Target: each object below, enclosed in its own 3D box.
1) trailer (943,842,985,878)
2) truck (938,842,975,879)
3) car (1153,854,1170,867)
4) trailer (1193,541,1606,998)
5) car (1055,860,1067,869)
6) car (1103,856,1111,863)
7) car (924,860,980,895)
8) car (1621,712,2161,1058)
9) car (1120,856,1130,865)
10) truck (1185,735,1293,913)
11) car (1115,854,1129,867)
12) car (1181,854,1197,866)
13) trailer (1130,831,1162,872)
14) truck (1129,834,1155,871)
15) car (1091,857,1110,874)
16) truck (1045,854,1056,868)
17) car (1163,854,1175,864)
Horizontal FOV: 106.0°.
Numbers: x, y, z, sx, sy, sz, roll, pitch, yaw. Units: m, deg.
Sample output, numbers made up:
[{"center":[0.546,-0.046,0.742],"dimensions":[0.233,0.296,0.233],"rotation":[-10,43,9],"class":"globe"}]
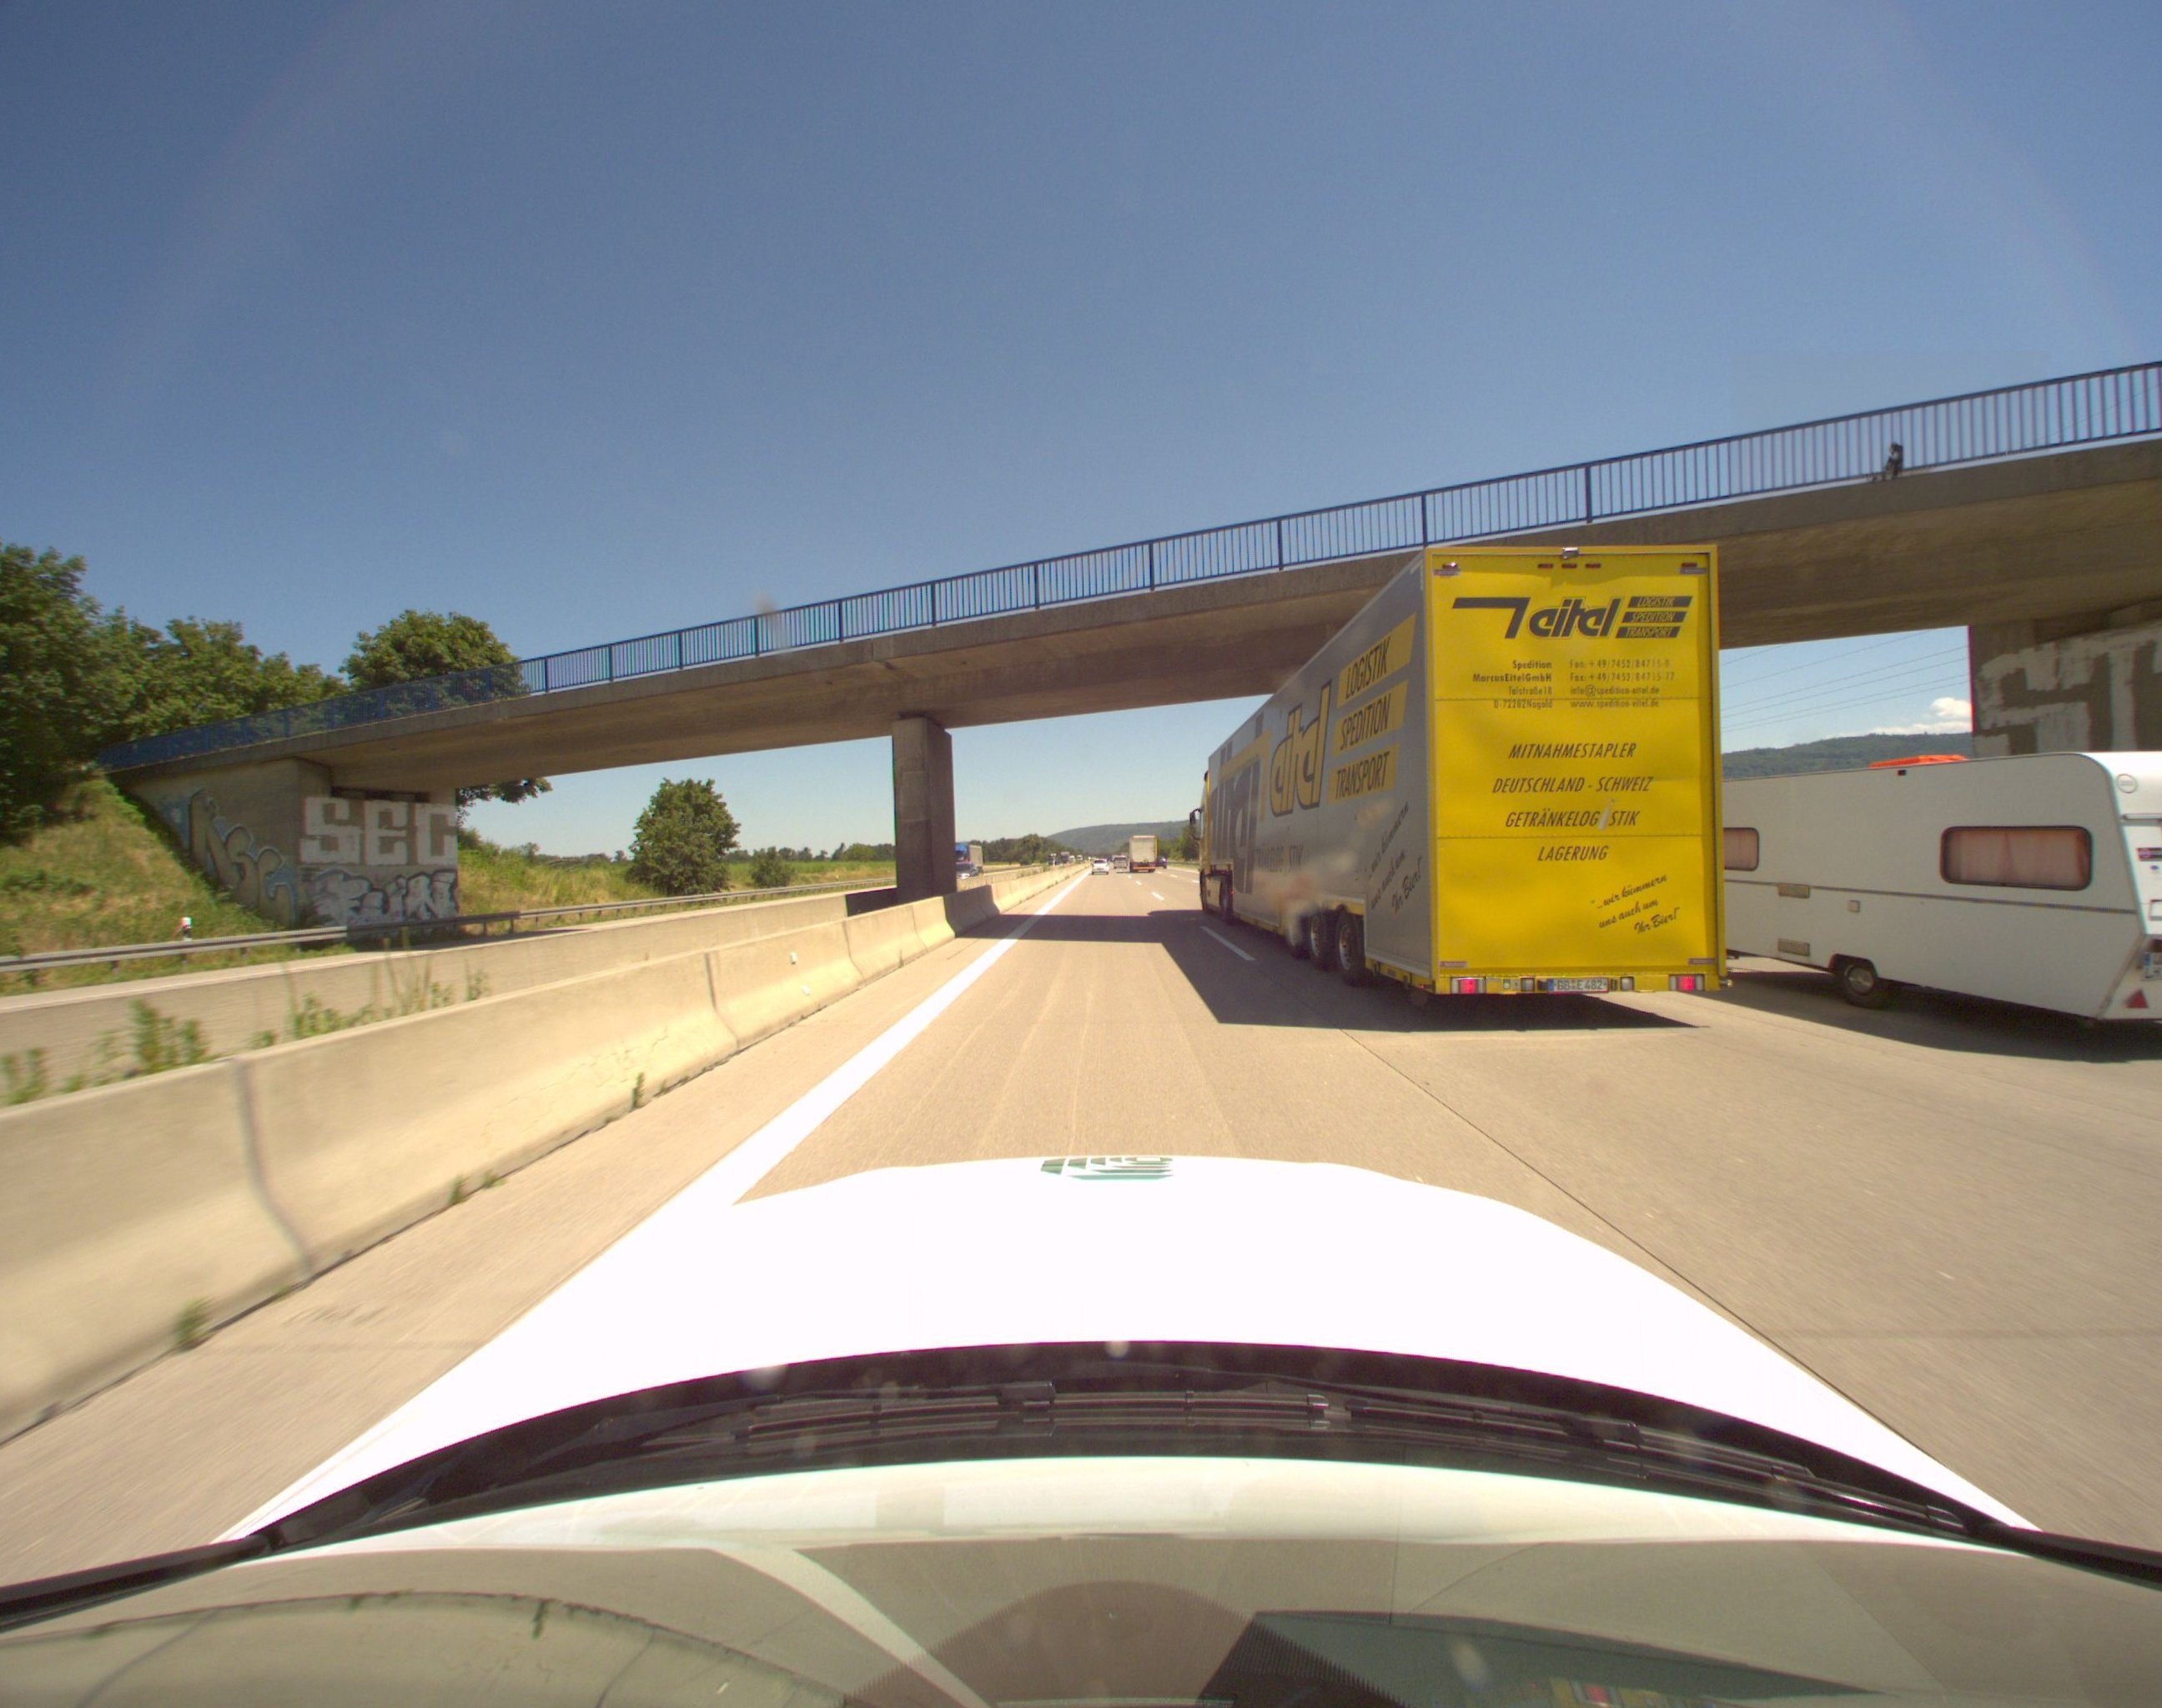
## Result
[{"center":[-14.283,0.706,100.215],"dimensions":[2.970,4.090,11.608],"rotation":[-3,0,2],"class":"trailer"},{"center":[-14.455,0.722,94.903],"dimensions":[2.970,4.090,6.467],"rotation":[-2,-1,1],"class":"truck"},{"center":[11.448,0.904,115.933],"dimensions":[1.986,1.849,4.000],"rotation":[1,0,1],"class":"car"},{"center":[4.013,-0.748,15.212],"dimensions":[1.986,4.254,15.201],"rotation":[-1,0,1],"class":"trailer"},{"center":[-3.827,2.030,159.330],"dimensions":[1.986,1.862,5.468],"rotation":[-1,0,2],"class":"car"},{"center":[7.220,1.557,227.974],"dimensions":[1.986,1.849,4.000],"rotation":[1,0,1],"class":"car"},{"center":[-7.716,1.354,49.431],"dimensions":[2.297,2.014,5.657],"rotation":[-1,0,2],"class":"car"},{"center":[8.325,0.215,8.266],"dimensions":[2.126,2.347,5.517],"rotation":[-1,0,2],"class":"car"},{"center":[8.931,1.316,166.075],"dimensions":[1.986,1.849,4.000],"rotation":[1,0,1],"class":"car"},{"center":[4.123,-0.714,22.167],"dimensions":[1.986,4.254,5.195],"rotation":[-1,-1,1],"class":"truck"},{"center":[5.969,1.003,119.424],"dimensions":[1.986,1.849,4.000],"rotation":[0,0,1],"class":"car"},{"center":[16.733,0.943,126.201],"dimensions":[1.986,1.849,4.000],"rotation":[1,0,1],"class":"car"},{"center":[6.494,-0.242,82.453],"dimensions":[2.572,3.878,10.373],"rotation":[-1,0,1],"class":"trailer"},{"center":[6.541,-0.183,87.904],"dimensions":[2.572,3.878,4.984],"rotation":[-1,-1,1],"class":"truck"},{"center":[1.909,1.114,80.829],"dimensions":[1.813,1.662,4.000],"rotation":[-1,0,0],"class":"car"},{"center":[-9.742,2.214,260.029],"dimensions":[3.220,4.606,6.252],"rotation":[-1,-1,1],"class":"truck"},{"center":[18.001,1.046,166.651],"dimensions":[1.986,1.849,4.000],"rotation":[1,0,1],"class":"car"}]
